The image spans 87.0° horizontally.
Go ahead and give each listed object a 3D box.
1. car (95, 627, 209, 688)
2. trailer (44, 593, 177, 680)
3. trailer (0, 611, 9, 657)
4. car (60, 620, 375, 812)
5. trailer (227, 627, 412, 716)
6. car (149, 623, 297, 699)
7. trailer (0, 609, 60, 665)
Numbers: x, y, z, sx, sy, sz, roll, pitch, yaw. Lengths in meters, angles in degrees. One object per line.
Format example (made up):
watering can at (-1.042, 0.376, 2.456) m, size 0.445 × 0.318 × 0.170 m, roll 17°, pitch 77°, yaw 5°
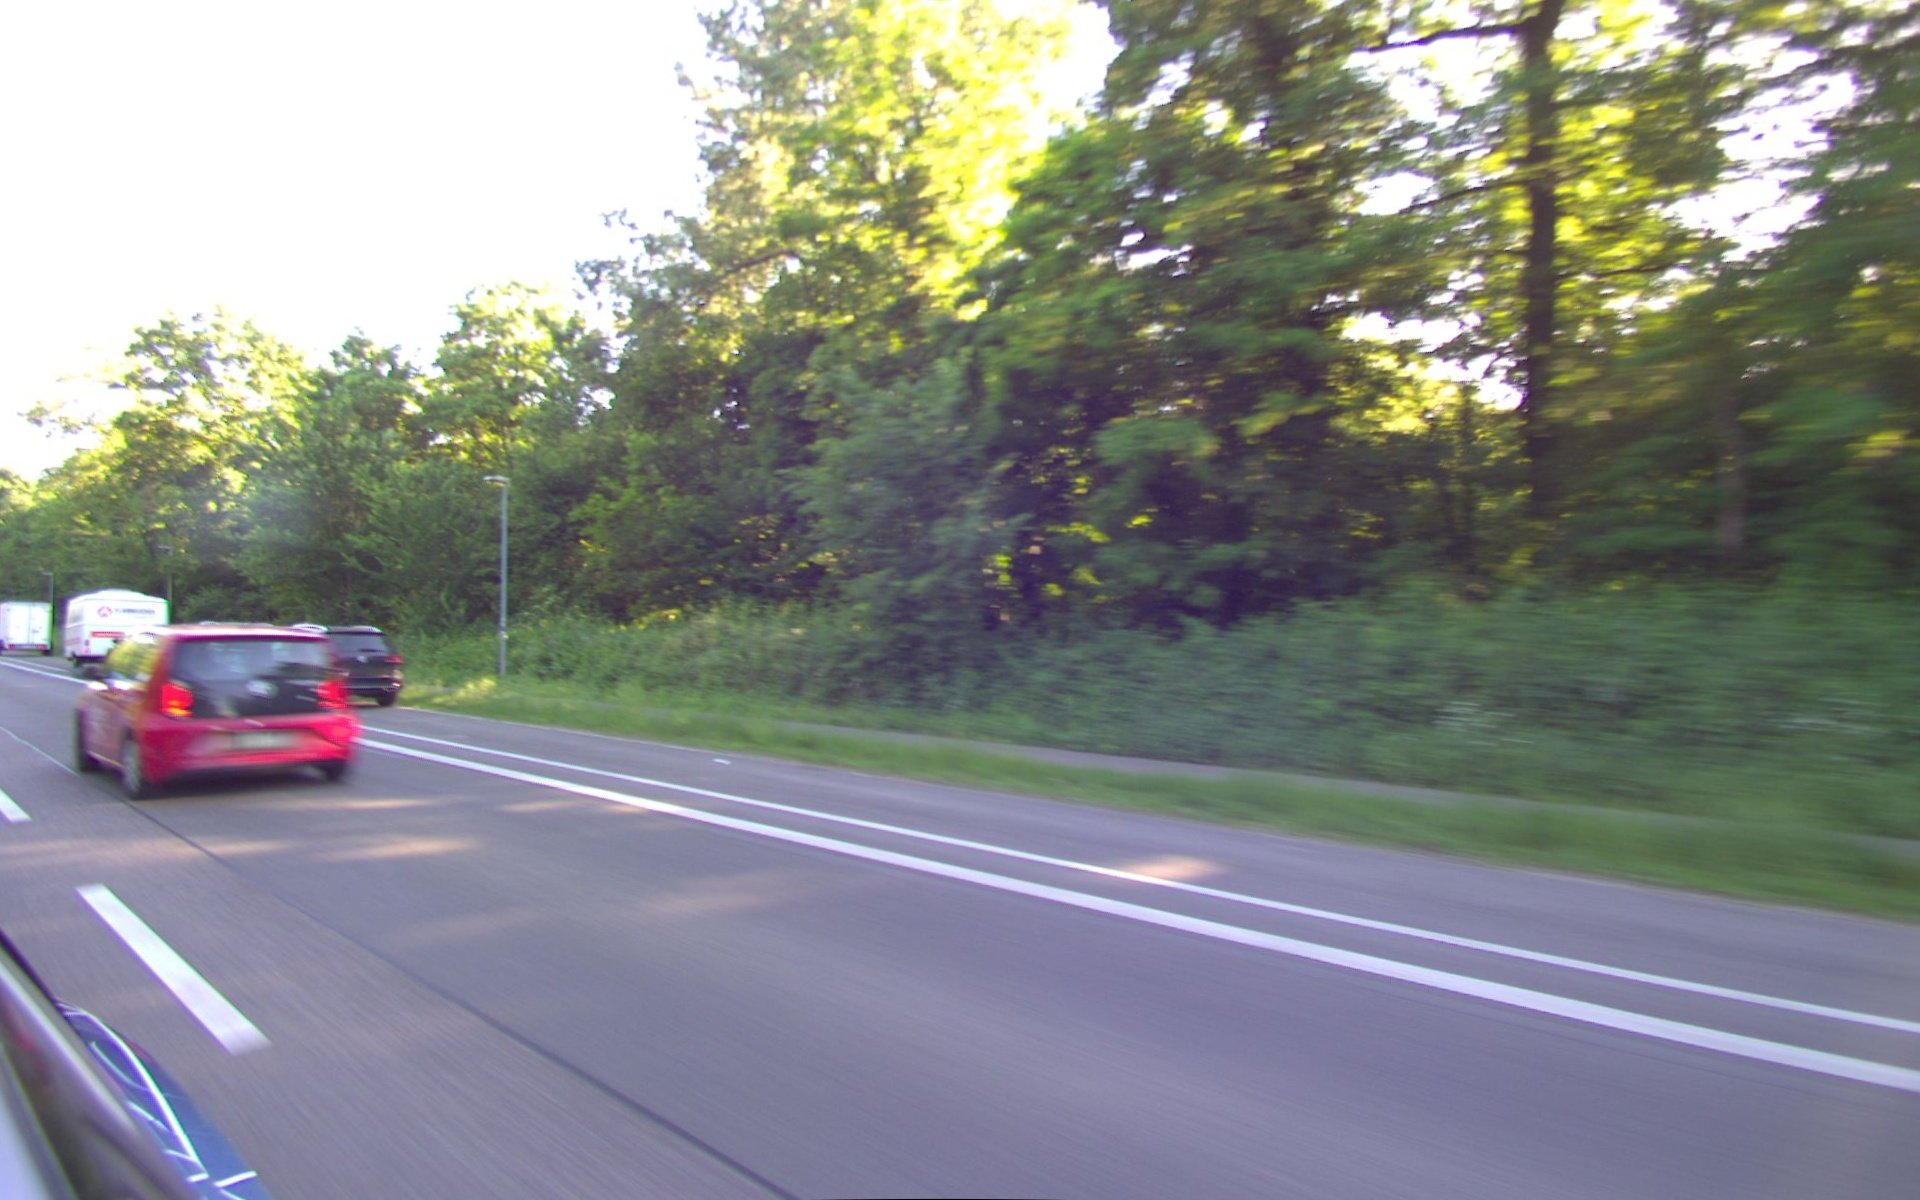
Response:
car at (-22.073, 1.554, 27.605) m, size 4.192 × 1.506 × 1.653 m, roll -1°, pitch -5°, yaw 41°
trailer at (-26.799, 1.134, 31.899) m, size 4.338 × 2.548 × 2.323 m, roll -1°, pitch -2°, yaw 38°
trailer at (-54.738, 1.900, 56.346) m, size 3.556 × 2.499 × 2.046 m, roll -1°, pitch -2°, yaw 38°
car at (-6.946, 0.932, 9.355) m, size 3.516 × 1.431 × 1.587 m, roll -2°, pitch -3°, yaw 41°
trailer at (-12.357, 1.282, 19.416) m, size 4.464 × 1.477 × 1.822 m, roll -2°, pitch -1°, yaw 41°
car at (-17.223, 1.379, 23.545) m, size 5.125 × 1.586 × 1.653 m, roll -1°, pitch -5°, yaw 42°
trailer at (-43.448, 1.709, 46.822) m, size 3.556 × 2.499 × 2.046 m, roll -1°, pitch -2°, yaw 38°
